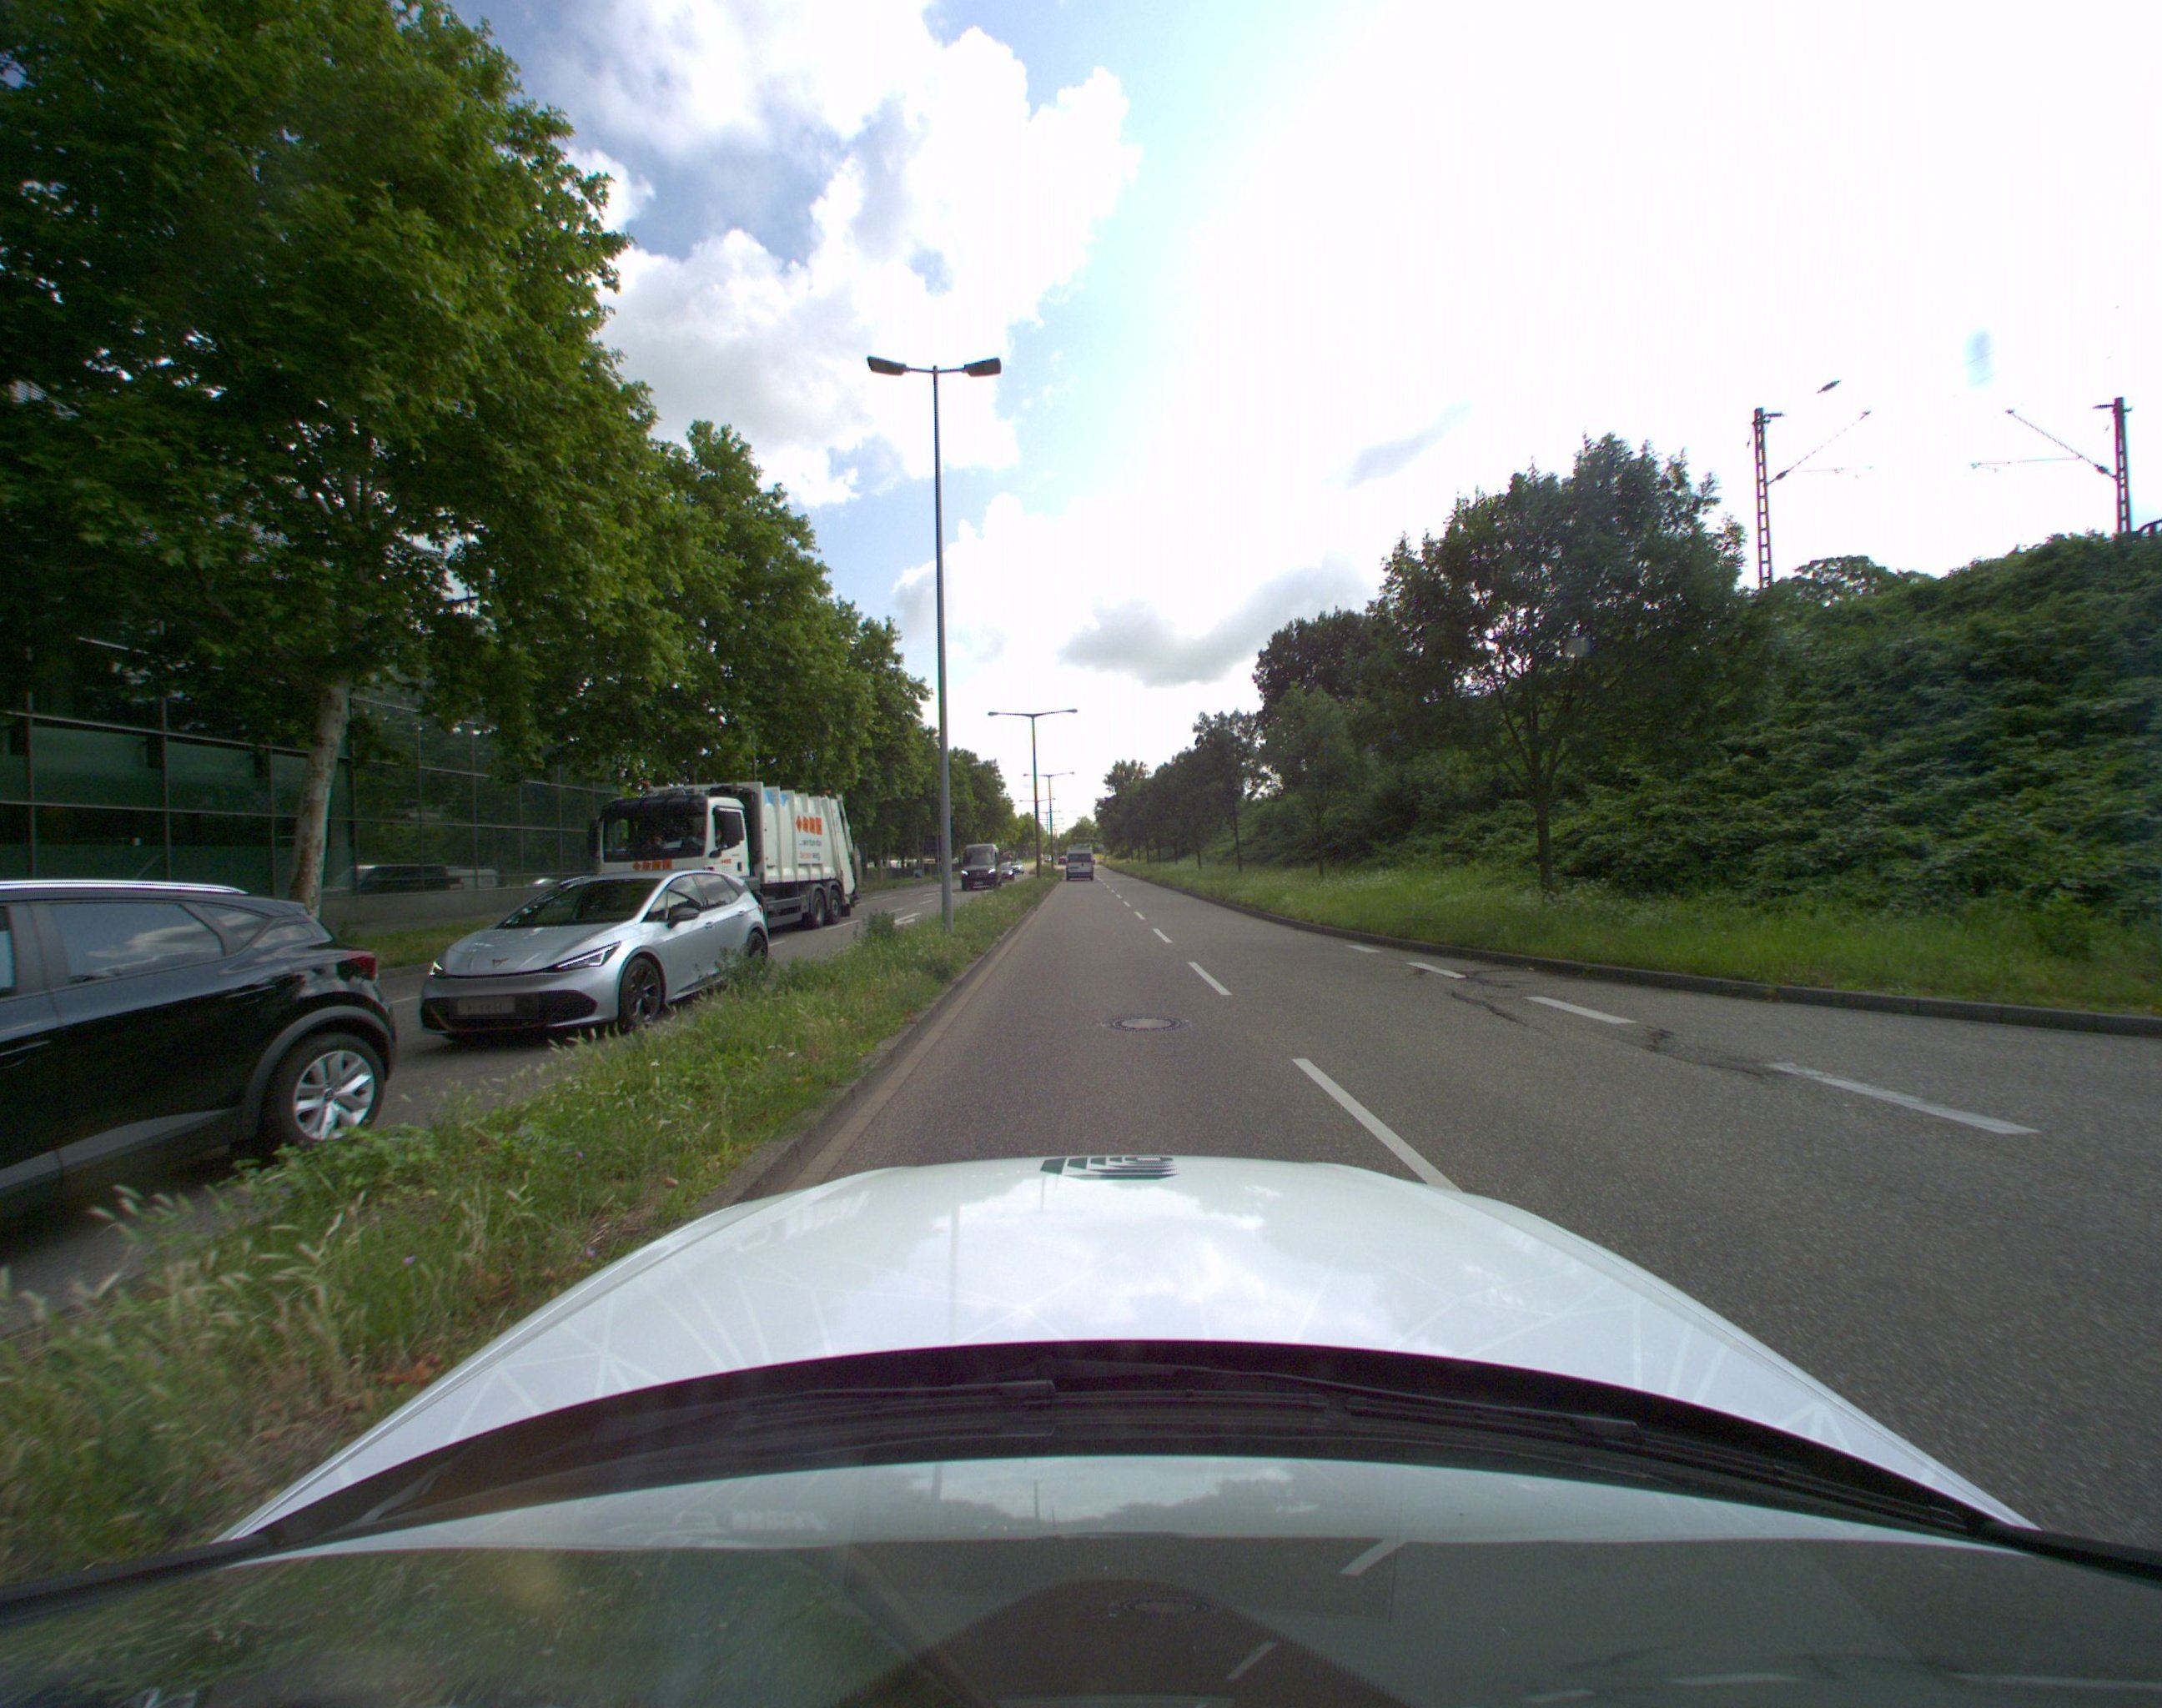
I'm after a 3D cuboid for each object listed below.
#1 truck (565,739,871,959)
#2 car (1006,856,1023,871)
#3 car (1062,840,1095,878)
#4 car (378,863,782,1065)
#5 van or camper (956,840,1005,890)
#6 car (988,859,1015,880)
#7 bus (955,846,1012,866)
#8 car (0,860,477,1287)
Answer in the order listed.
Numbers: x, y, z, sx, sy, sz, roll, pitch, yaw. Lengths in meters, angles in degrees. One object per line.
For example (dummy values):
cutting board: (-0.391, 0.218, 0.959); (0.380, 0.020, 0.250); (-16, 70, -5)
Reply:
truck: (-7.986, -0.078, 20.031); (2.641, 3.887, 10.160); (-3, 0, 1)
car: (-8.136, 1.181, 99.554); (1.809, 1.640, 4.348); (-4, 0, -2)
car: (-0.242, 0.337, 61.809); (2.193, 2.726, 4.926); (0, 1, -3)
car: (-4.989, 0.945, 8.965); (1.739, 1.552, 4.233); (-4, 0, 0)
van or camper: (-5.767, 0.599, 47.487); (2.099, 2.659, 6.712); (-3, 0, -2)
car: (-5.964, 1.161, 61.599); (1.689, 1.464, 3.938); (-3, 0, -2)
bus: (-19.921, 0.407, 165.481); (12.176, 3.274, 3.140); (-3, 0, 34)
car: (-4.918, 0.875, 3.248); (1.703, 1.587, 4.360); (-4, 0, -1)
